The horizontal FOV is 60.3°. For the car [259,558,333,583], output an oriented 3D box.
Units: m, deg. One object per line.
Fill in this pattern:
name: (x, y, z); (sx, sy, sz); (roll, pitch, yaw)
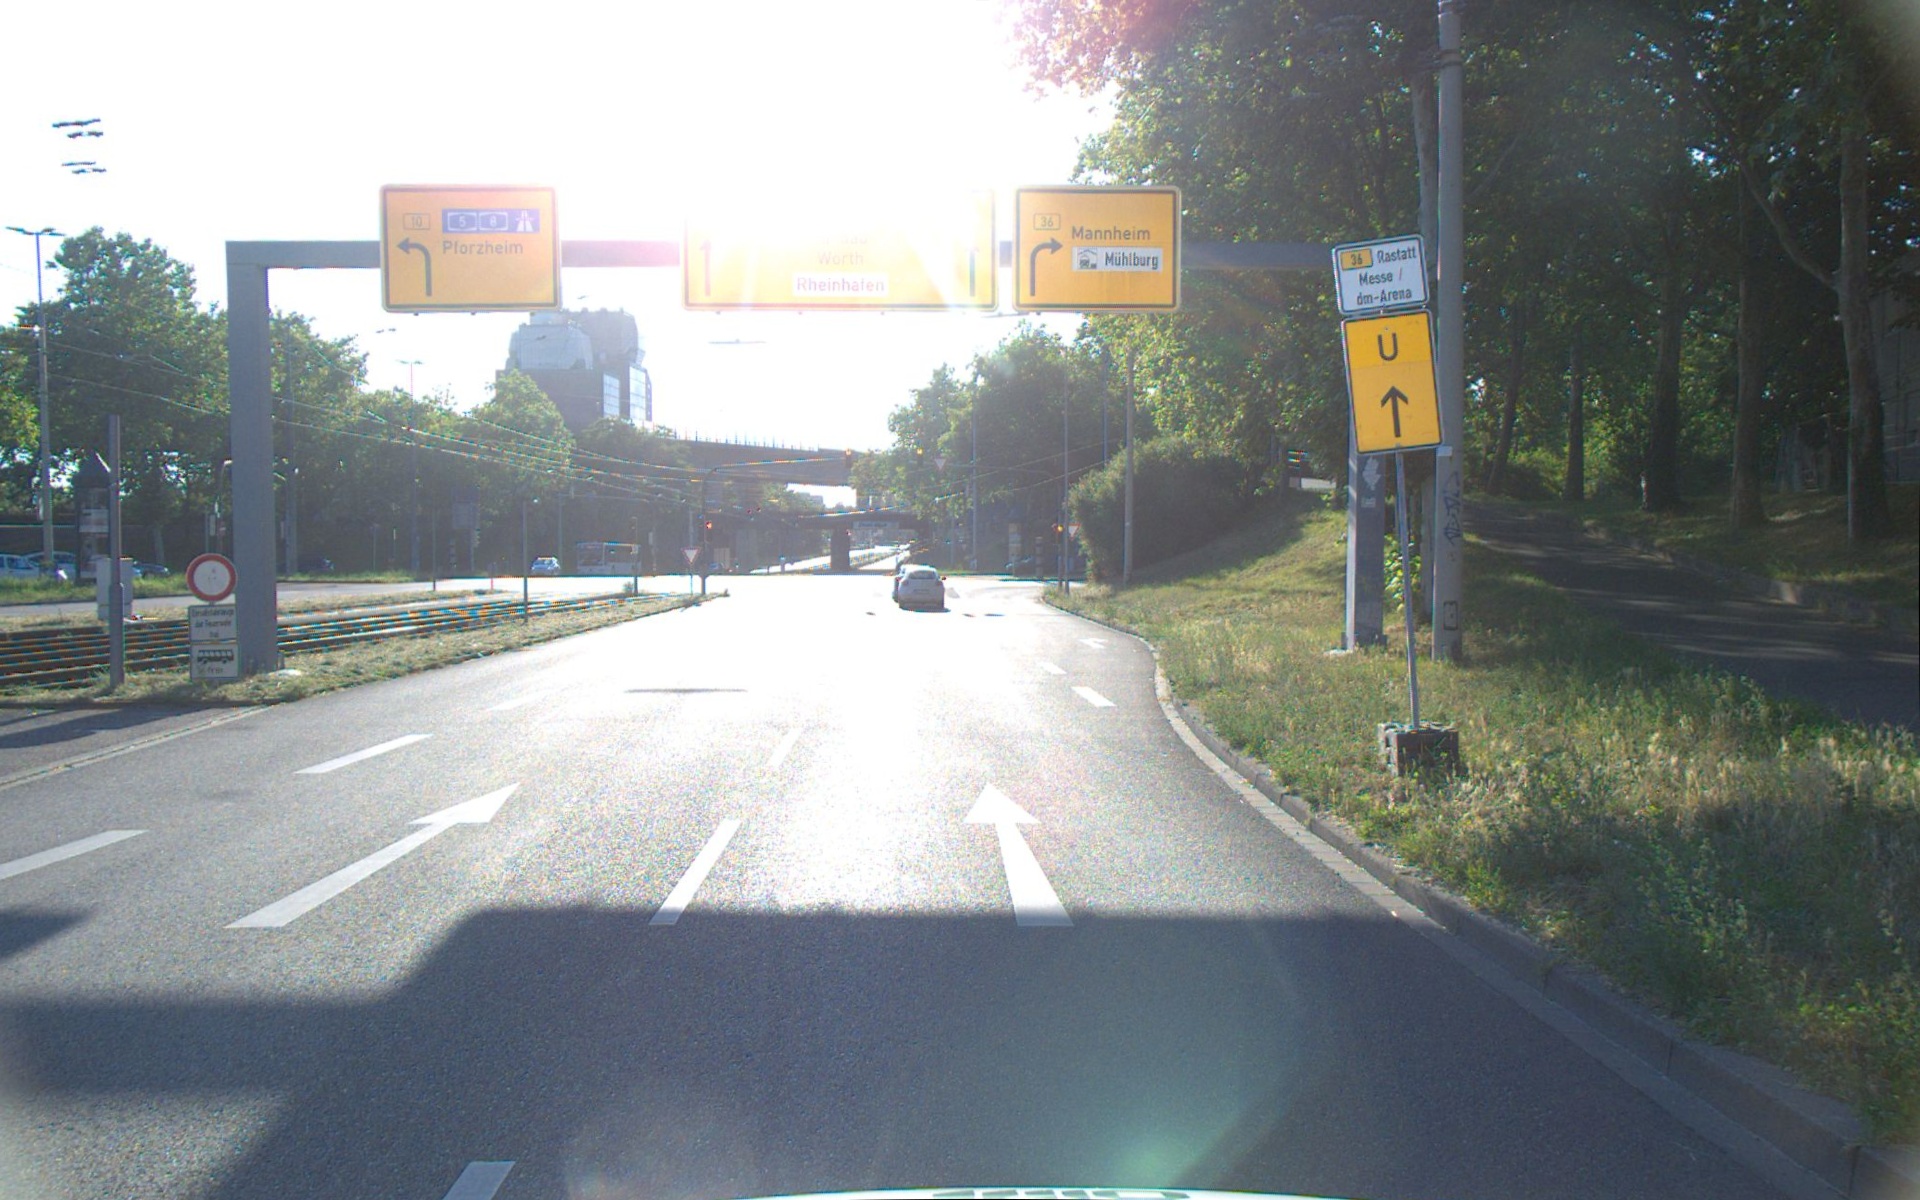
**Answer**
car: (-41.973, -1.854, 104.598); (3.905, 1.531, 1.742); (0, 2, 0)

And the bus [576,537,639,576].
bus: (-30.842, -3.725, 145.342); (2.491, 3.184, 12.920); (0, 0, 1)

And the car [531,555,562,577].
car: (-31.085, -2.560, 124.397); (1.575, 1.538, 4.006); (1, 2, -3)

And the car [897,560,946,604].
car: (-1.453, -0.693, 61.412); (1.701, 1.531, 3.999); (0, 2, -3)

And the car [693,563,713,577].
car: (-28.120, -3.318, 181.218); (1.573, 1.443, 4.009); (1, 2, 0)

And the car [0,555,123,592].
car: (-40.761, -1.209, 74.579); (5.282, 1.602, 1.727); (0, 2, -25)

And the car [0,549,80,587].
car: (-40.082, -1.394, 71.075); (3.941, 1.602, 1.679); (0, 2, -28)
